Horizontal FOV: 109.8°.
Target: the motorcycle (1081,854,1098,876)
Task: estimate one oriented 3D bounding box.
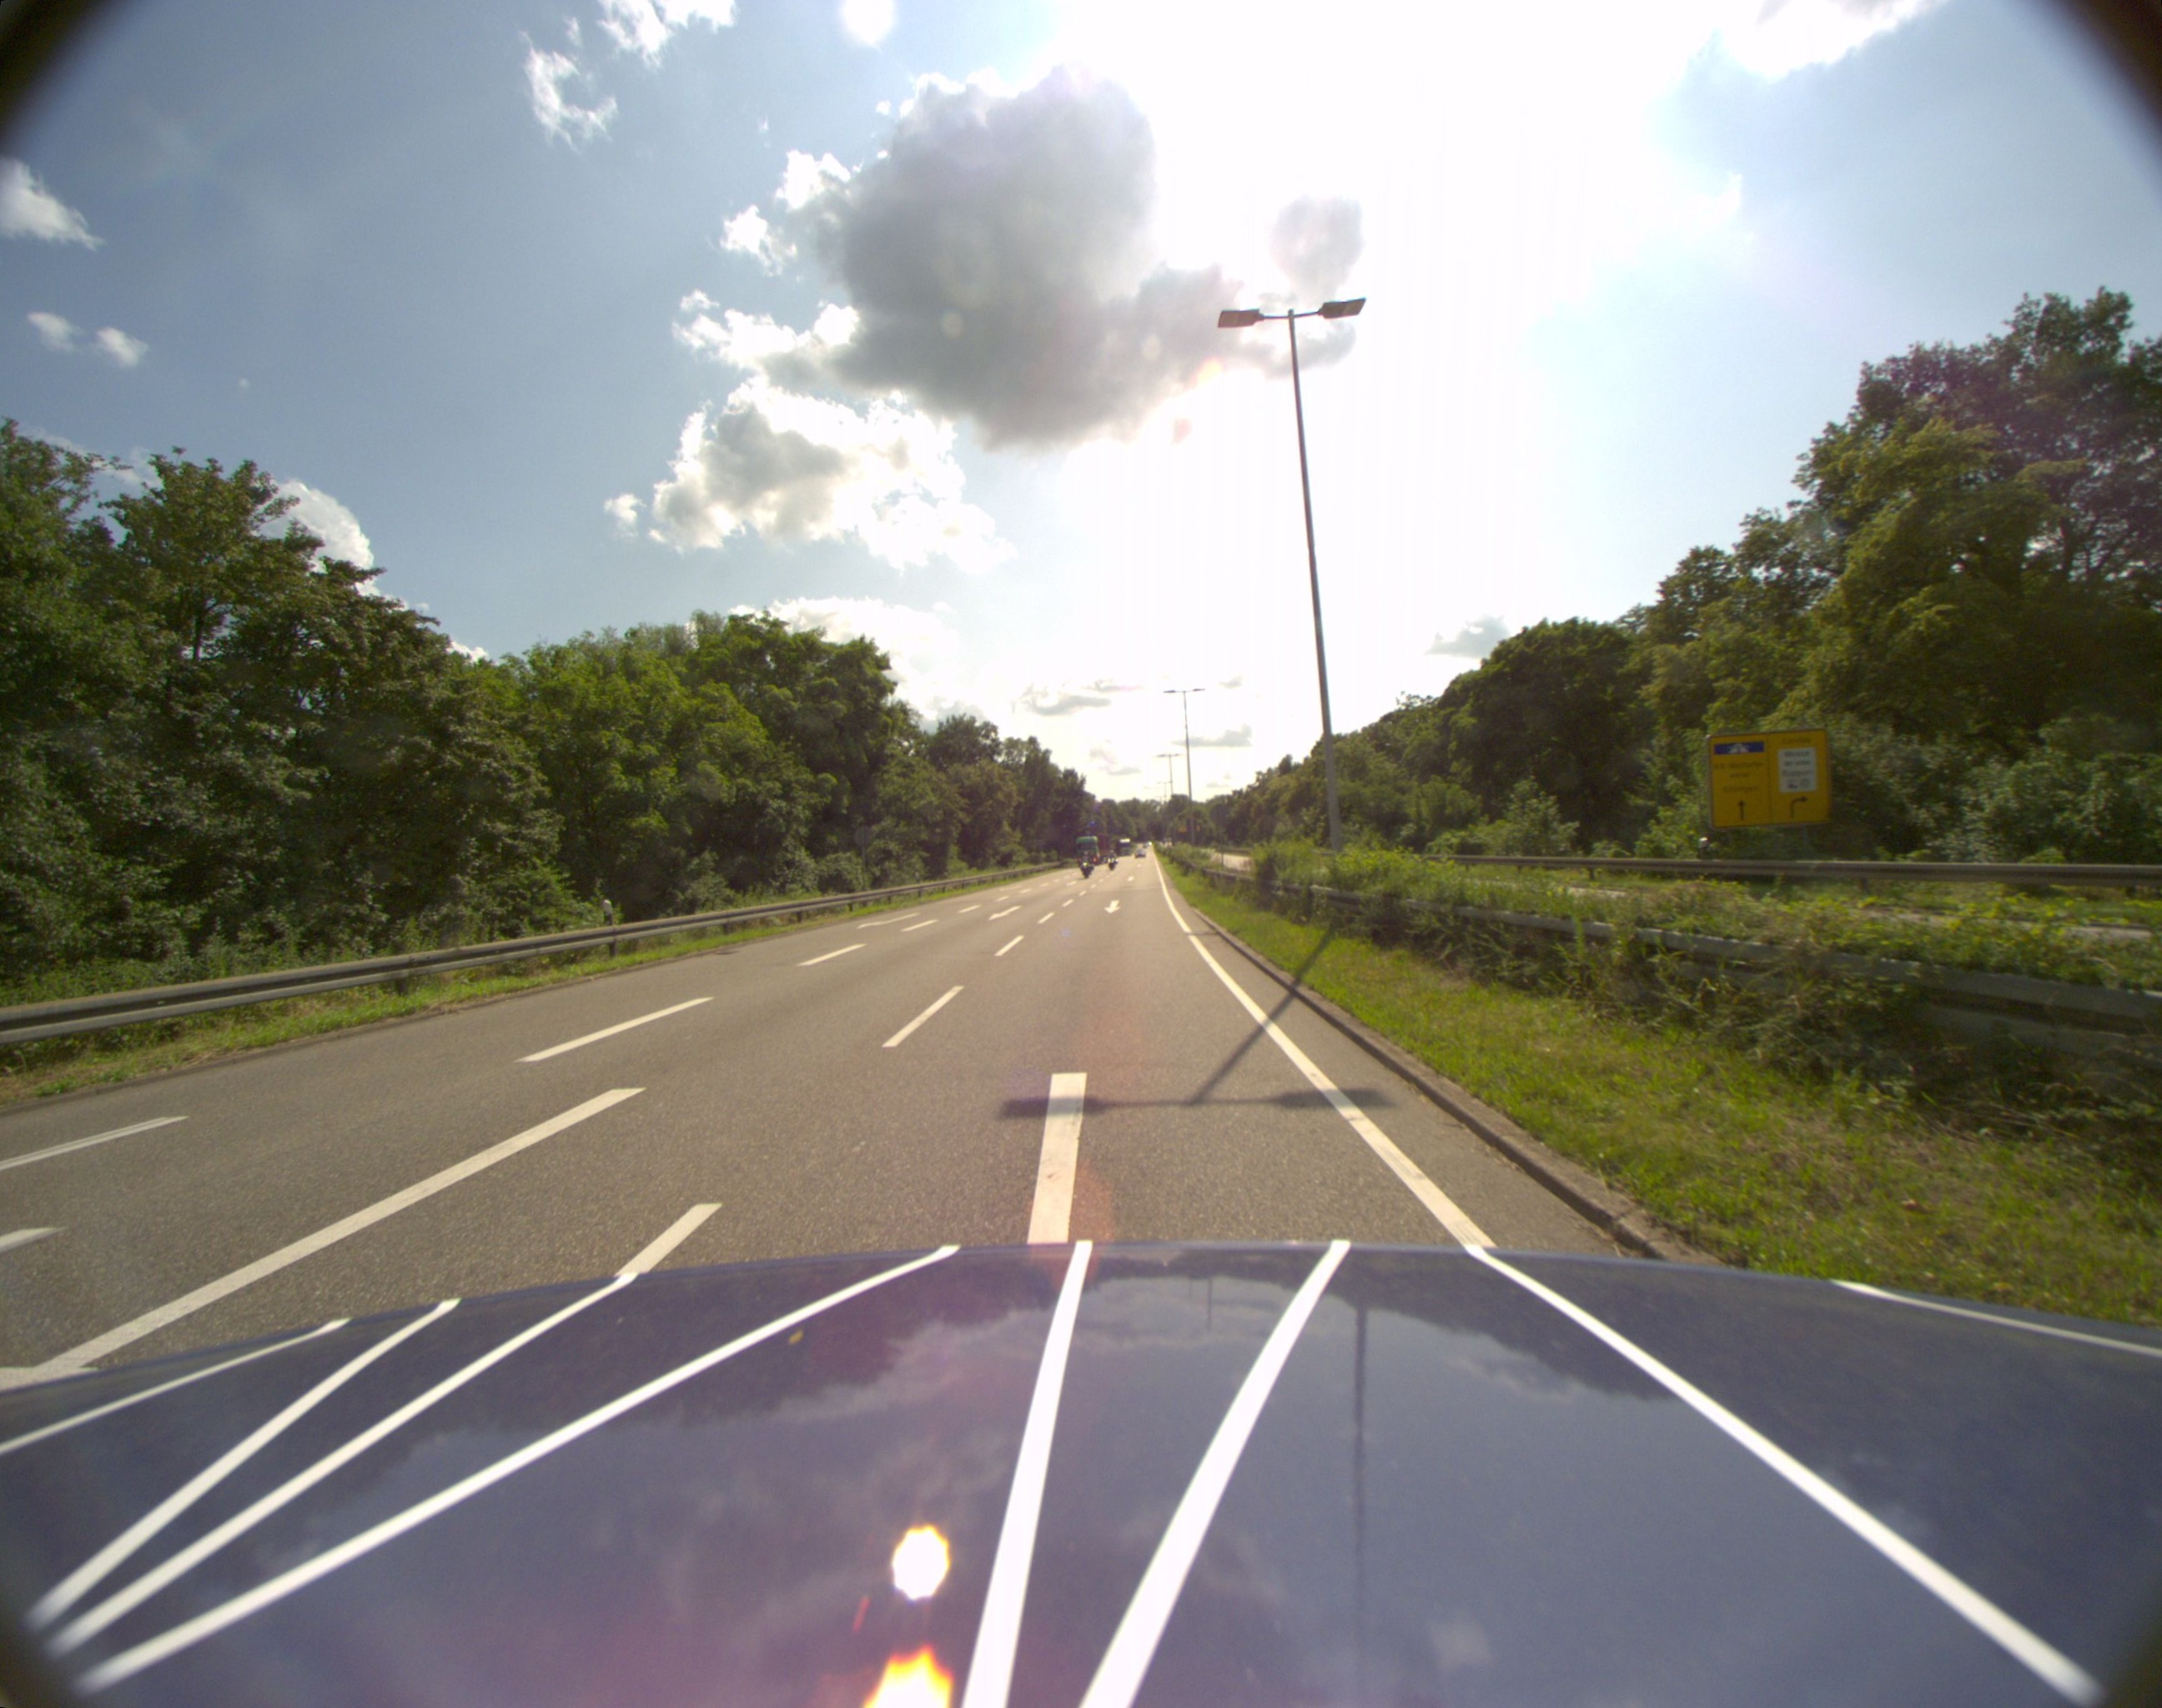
[{"bbox_3d":[0.557,0.733,50.648,0.939,1.375,2.371,-3,0,4],"label":"motorcycle"}]

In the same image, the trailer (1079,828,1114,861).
[{"bbox_3d":[2.135,-1.185,98.664,2.590,3.871,14.509,-4,0,8],"label":"trailer"}]

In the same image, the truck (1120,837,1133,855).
[{"bbox_3d":[11.091,-1.884,184.530,2.691,3.948,7.384,-4,0,2],"label":"truck"}]

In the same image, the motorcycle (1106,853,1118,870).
[{"bbox_3d":[2.652,0.657,65.172,0.867,1.381,2.371,-3,0,5],"label":"motorcycle"}]

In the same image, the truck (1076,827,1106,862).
[{"bbox_3d":[1.219,-1.132,91.716,2.590,3.871,6.064,-4,0,8],"label":"truck"}]

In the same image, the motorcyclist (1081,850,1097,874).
[{"bbox_3d":[0.548,0.529,50.598,0.939,1.581,1.083,-3,0,4],"label":"motorcyclist"}]

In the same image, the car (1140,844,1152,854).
[{"bbox_3d":[10.875,-0.810,126.951,1.735,1.468,4.048,-3,0,6],"label":"car"}]

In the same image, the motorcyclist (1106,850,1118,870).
[{"bbox_3d":[2.651,0.499,65.288,0.867,1.690,0.895,-3,0,5],"label":"motorcyclist"}]

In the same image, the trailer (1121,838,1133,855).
[{"bbox_3d":[11.525,-1.860,191.514,2.694,3.948,12.395,-4,0,4],"label":"trailer"}]
